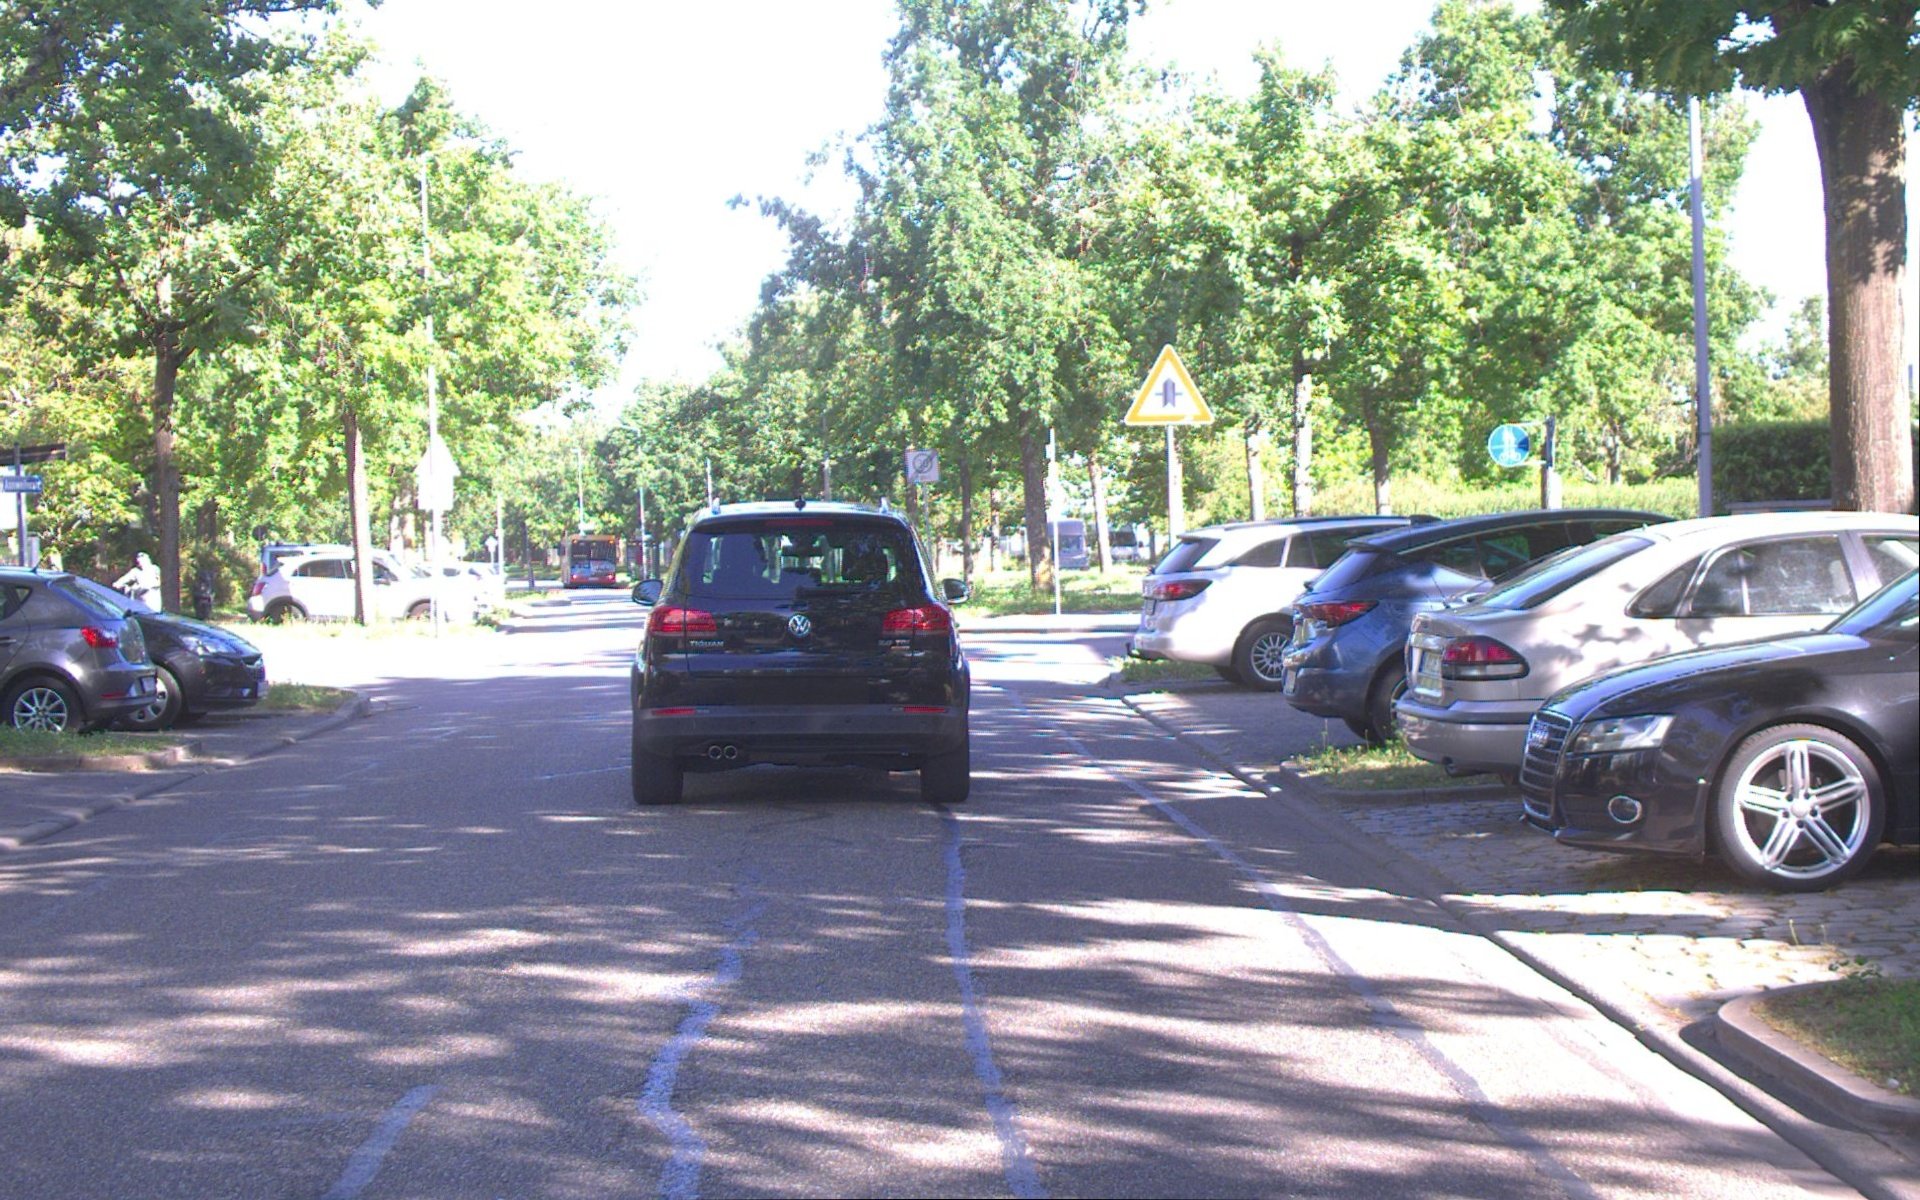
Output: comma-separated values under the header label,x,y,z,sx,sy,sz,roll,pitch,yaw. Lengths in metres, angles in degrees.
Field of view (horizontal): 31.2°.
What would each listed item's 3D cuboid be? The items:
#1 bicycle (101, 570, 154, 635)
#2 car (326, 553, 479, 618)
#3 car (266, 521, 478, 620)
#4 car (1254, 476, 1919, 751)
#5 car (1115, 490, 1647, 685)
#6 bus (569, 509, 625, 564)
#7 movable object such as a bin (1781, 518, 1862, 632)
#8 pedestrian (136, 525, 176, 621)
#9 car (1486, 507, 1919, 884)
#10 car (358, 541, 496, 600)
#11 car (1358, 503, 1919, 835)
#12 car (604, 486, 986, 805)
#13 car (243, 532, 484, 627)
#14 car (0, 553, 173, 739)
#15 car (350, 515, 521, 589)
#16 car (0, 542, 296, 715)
label,x,y,z,sx,sy,sz,roll,pitch,yaw
bicycle,-13.672,0.032,56.505,0.447,1.035,1.893,-2,1,-2
car,-15.403,-0.402,95.153,4.015,1.642,1.811,-2,1,-5
car,-11.906,-0.618,69.830,4.015,1.833,1.897,-2,1,-5
car,4.101,0.051,21.686,4.276,1.498,1.797,-2,2,0
car,3.657,-0.134,30.430,4.428,1.486,1.797,-2,2,0
bus,-20.442,-3.557,193.939,2.928,2.993,5.738,-2,1,-5
movable object such as a bin,8.144,-0.241,32.508,0.534,1.041,0.700,-2,1,-2
pedestrian,-13.237,-0.456,56.630,0.441,1.551,0.801,-2,2,-2
car,4.480,0.281,13.920,4.346,1.358,1.874,-3,1,-1
car,-16.322,-0.909,105.439,4.015,1.642,1.811,-2,2,-5
car,4.205,0.262,16.726,4.276,1.409,1.797,-2,2,0
car,-0.846,0.191,19.867,1.838,1.631,3.958,-1,1,2
car,-11.140,-0.387,64.441,4.241,1.617,1.897,-2,1,-5
car,-8.438,0.364,27.657,3.818,1.414,1.772,-1,1,-2
car,-12.940,-1.193,84.982,4.015,1.642,1.811,-2,2,-5
car,-8.040,0.247,30.731,3.857,1.454,1.713,-1,2,0
